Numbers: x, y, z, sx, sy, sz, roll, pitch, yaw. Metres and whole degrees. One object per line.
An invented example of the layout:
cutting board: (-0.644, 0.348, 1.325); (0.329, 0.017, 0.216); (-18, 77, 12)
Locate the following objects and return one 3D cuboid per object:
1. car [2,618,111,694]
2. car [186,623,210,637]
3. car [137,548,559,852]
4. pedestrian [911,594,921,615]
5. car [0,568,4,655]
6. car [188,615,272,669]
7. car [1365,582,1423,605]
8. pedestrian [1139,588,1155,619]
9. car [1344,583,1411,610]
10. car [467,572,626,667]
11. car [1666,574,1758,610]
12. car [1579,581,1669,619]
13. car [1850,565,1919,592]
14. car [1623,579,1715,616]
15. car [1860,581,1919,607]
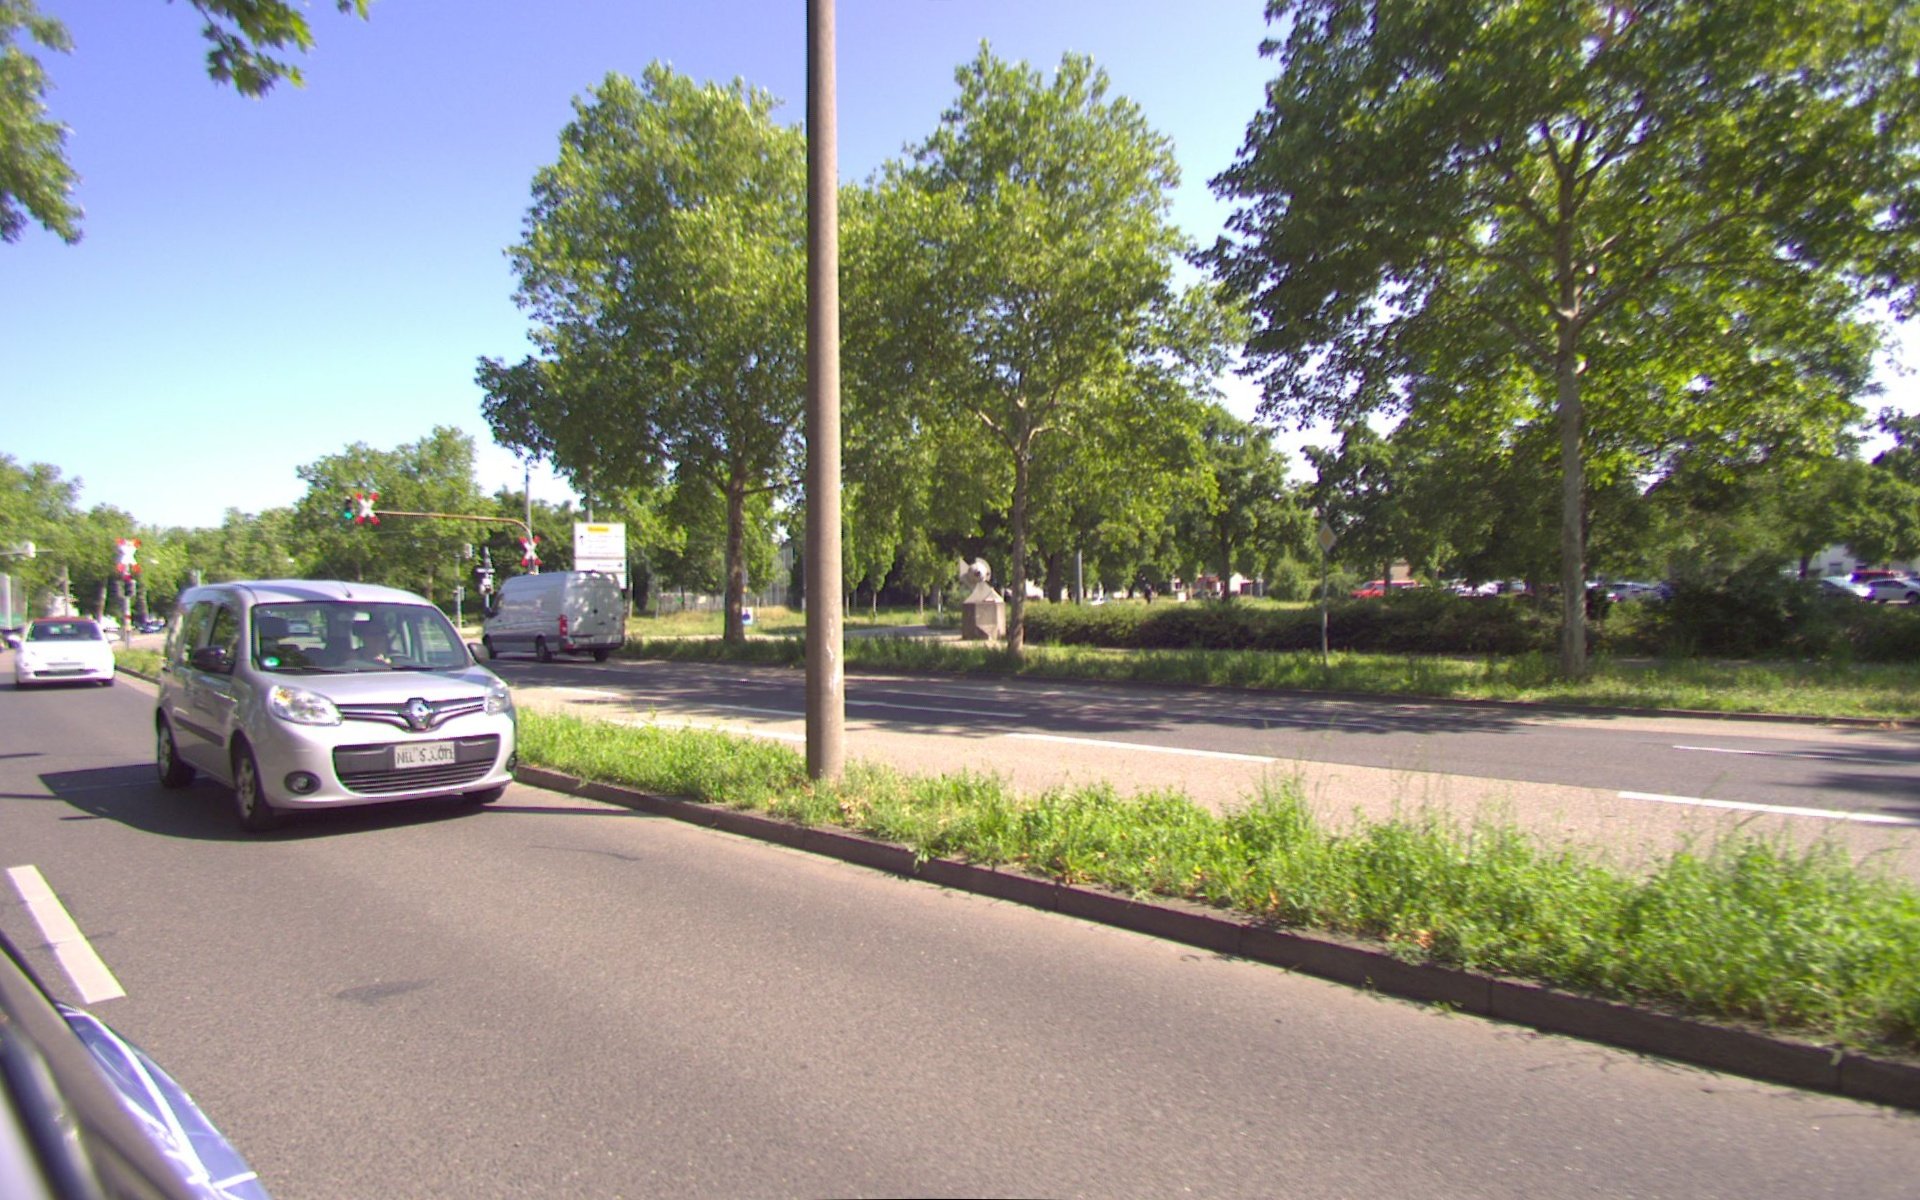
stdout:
car: (-20.064, 1.178, 22.423); (1.665, 1.502, 4.379); (0, -1, -44)
car: (-111.107, 4.347, 147.573); (1.965, 2.029, 4.013); (-1, 0, -24)
car: (-5.230, 0.665, 8.375); (4.375, 1.854, 1.852); (-1, -2, 43)
pedestrian: (-4.396, 0.444, 100.798); (0.609, 2.106, 0.755); (-1, 0, -44)
car: (-43.573, 0.502, 43.753); (2.860, 3.950, 7.152); (-1, 0, -41)
car: (-22.573, 1.252, 31.227); (1.673, 1.519, 4.134); (-1, 0, -42)
car: (28.890, -0.428, 67.428); (3.287, 1.457, 1.352); (-1, 0, -10)
pedestrian: (12.535, 0.257, 67.815); (0.784, 2.029, 0.712); (-1, -1, -44)
car: (29.070, -0.255, 70.544); (3.922, 1.715, 1.819); (-1, 0, -10)
car: (-12.891, 0.589, 31.163); (2.036, 2.633, 7.223); (0, -1, -44)
car: (43.752, -0.449, 58.964); (1.787, 2.029, 4.012); (-1, 0, -16)
car: (37.730, 0.021, 57.601); (1.787, 2.029, 4.012); (-1, 0, -16)
car: (66.683, -1.537, 72.606); (1.740, 1.852, 3.940); (-1, 0, -15)
car: (40.503, -0.118, 57.908); (1.787, 2.029, 4.012); (-1, 0, -16)
car: (56.909, -0.372, 60.694); (1.786, 1.502, 4.013); (-1, 0, -19)
